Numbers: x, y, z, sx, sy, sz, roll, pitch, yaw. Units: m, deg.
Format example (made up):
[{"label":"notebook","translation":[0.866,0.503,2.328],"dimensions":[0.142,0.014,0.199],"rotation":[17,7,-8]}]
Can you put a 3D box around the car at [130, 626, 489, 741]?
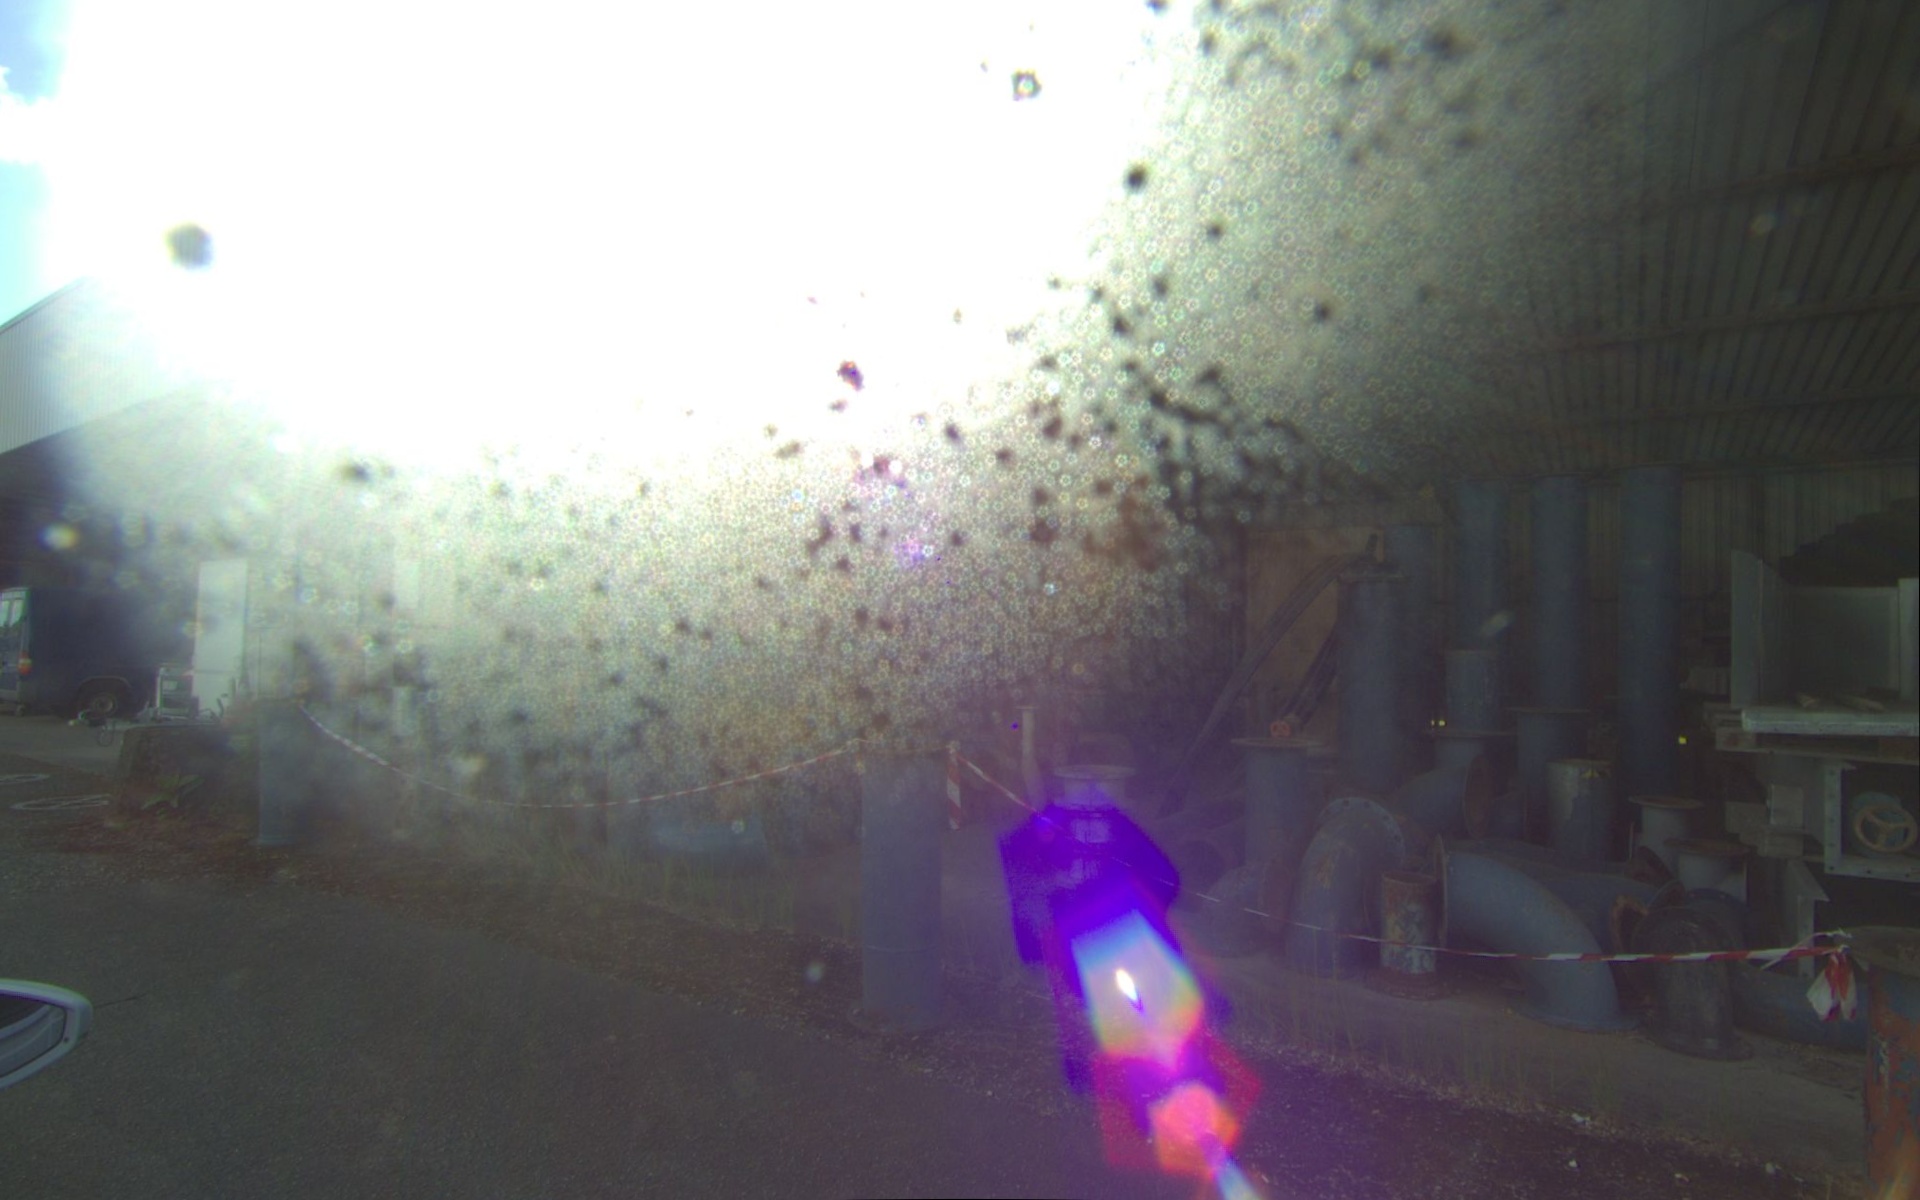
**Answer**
[{"label":"car","translation":[-9.816,1.204,15.493],"dimensions":[1.751,1.514,4.324],"rotation":[-1,-3,31]}]

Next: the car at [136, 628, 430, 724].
[{"label":"car","translation":[-11.914,1.297,17.912],"dimensions":[1.761,1.491,3.985],"rotation":[-1,-3,29]}]

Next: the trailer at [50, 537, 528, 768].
[{"label":"trailer","translation":[-8.369,0.667,12.963],"dimensions":[1.804,2.421,4.796],"rotation":[-1,-3,38]}]

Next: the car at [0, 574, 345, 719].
[{"label":"car","translation":[-14.764,0.896,18.906],"dimensions":[1.973,2.354,4.969],"rotation":[-1,-3,34]}]

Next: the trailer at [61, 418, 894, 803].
[{"label":"trailer","translation":[-5.052,0.314,13.429],"dimensions":[2.814,3.256,10.018],"rotation":[-1,-3,34]}]
